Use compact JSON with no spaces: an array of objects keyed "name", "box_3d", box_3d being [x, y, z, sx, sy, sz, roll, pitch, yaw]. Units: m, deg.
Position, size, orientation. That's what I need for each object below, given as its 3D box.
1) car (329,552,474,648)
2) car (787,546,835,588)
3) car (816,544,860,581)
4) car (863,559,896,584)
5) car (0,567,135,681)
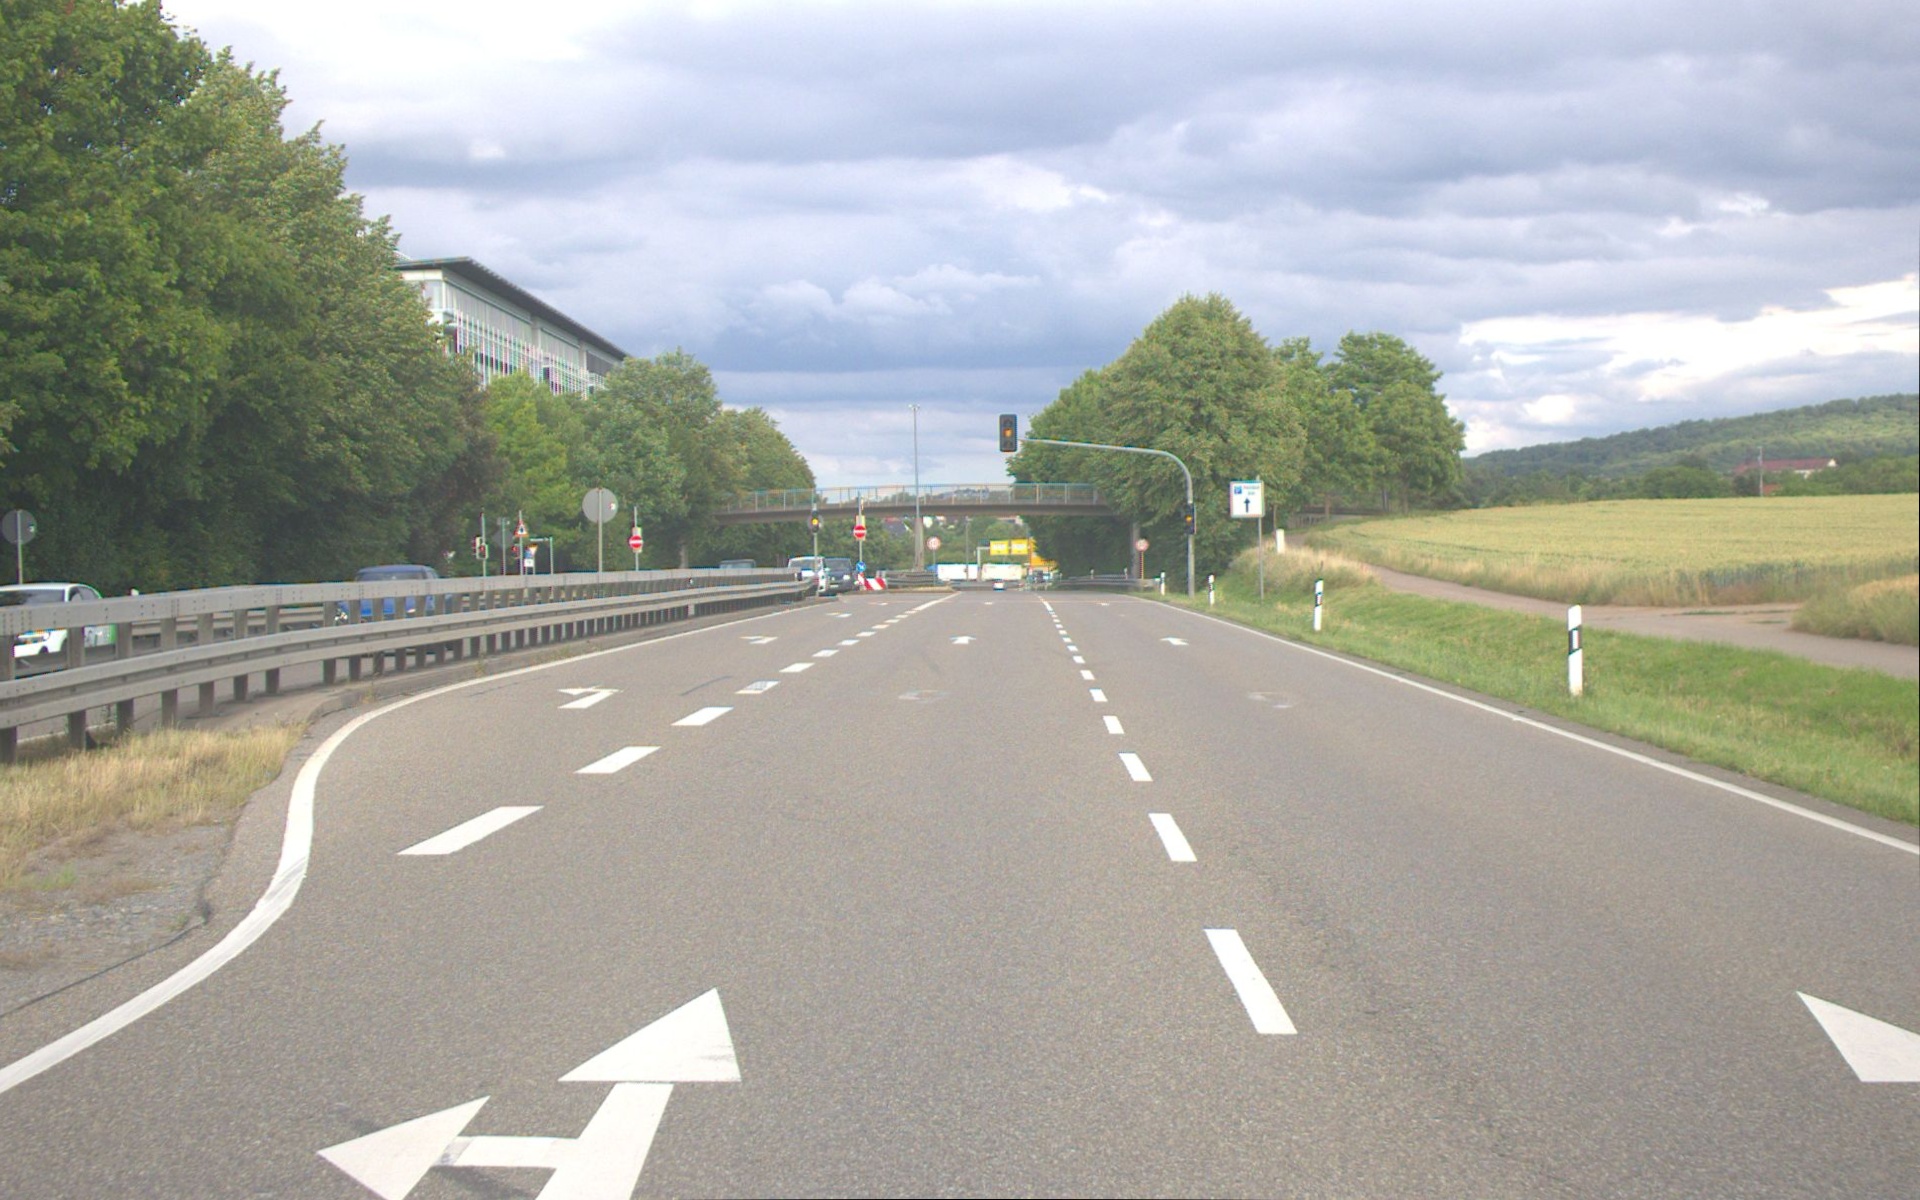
[{"name":"car","box_3d":[-9.259,-0.024,57.228,1.769,1.463,3.712,-1,1,0]},{"name":"car","box_3d":[-6.925,-1.564,160.131,1.948,1.867,4.736,-1,1,1]},{"name":"car","box_3d":[-6.312,-1.954,178.259,1.994,1.867,4.736,-1,1,1]},{"name":"car","box_3d":[-3.695,-1.316,158.048,1.358,1.088,2.922,-1,1,2]},{"name":"car","box_3d":[-12.783,0.306,47.243,1.759,1.408,4.459,-1,1,0]}]
